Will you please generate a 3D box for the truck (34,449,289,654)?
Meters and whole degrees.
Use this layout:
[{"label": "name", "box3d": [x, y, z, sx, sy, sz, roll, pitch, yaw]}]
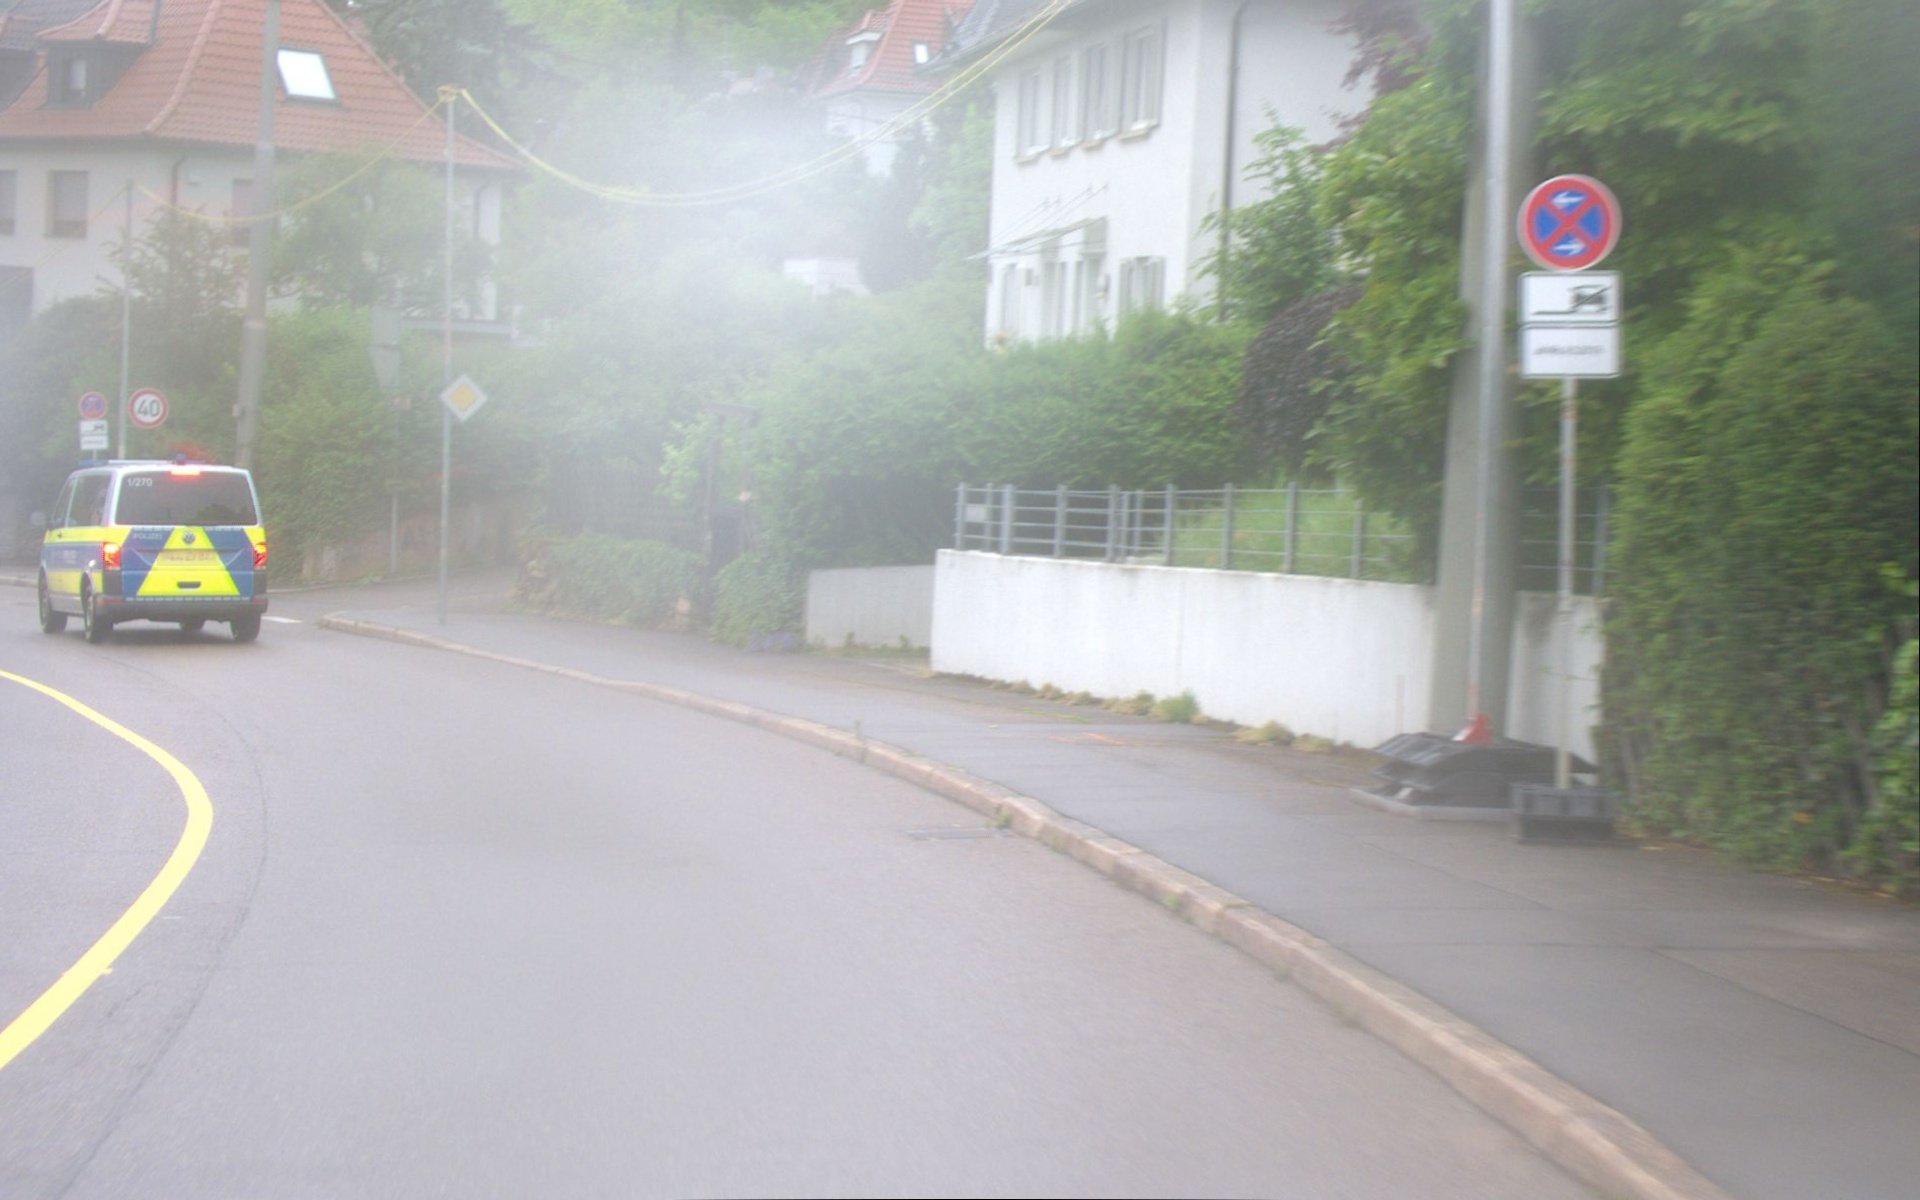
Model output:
[{"label": "truck", "box3d": [-9.073, -0.607, 38.781, 1.993, 2.006, 4.737, 0, 4, -23]}]
